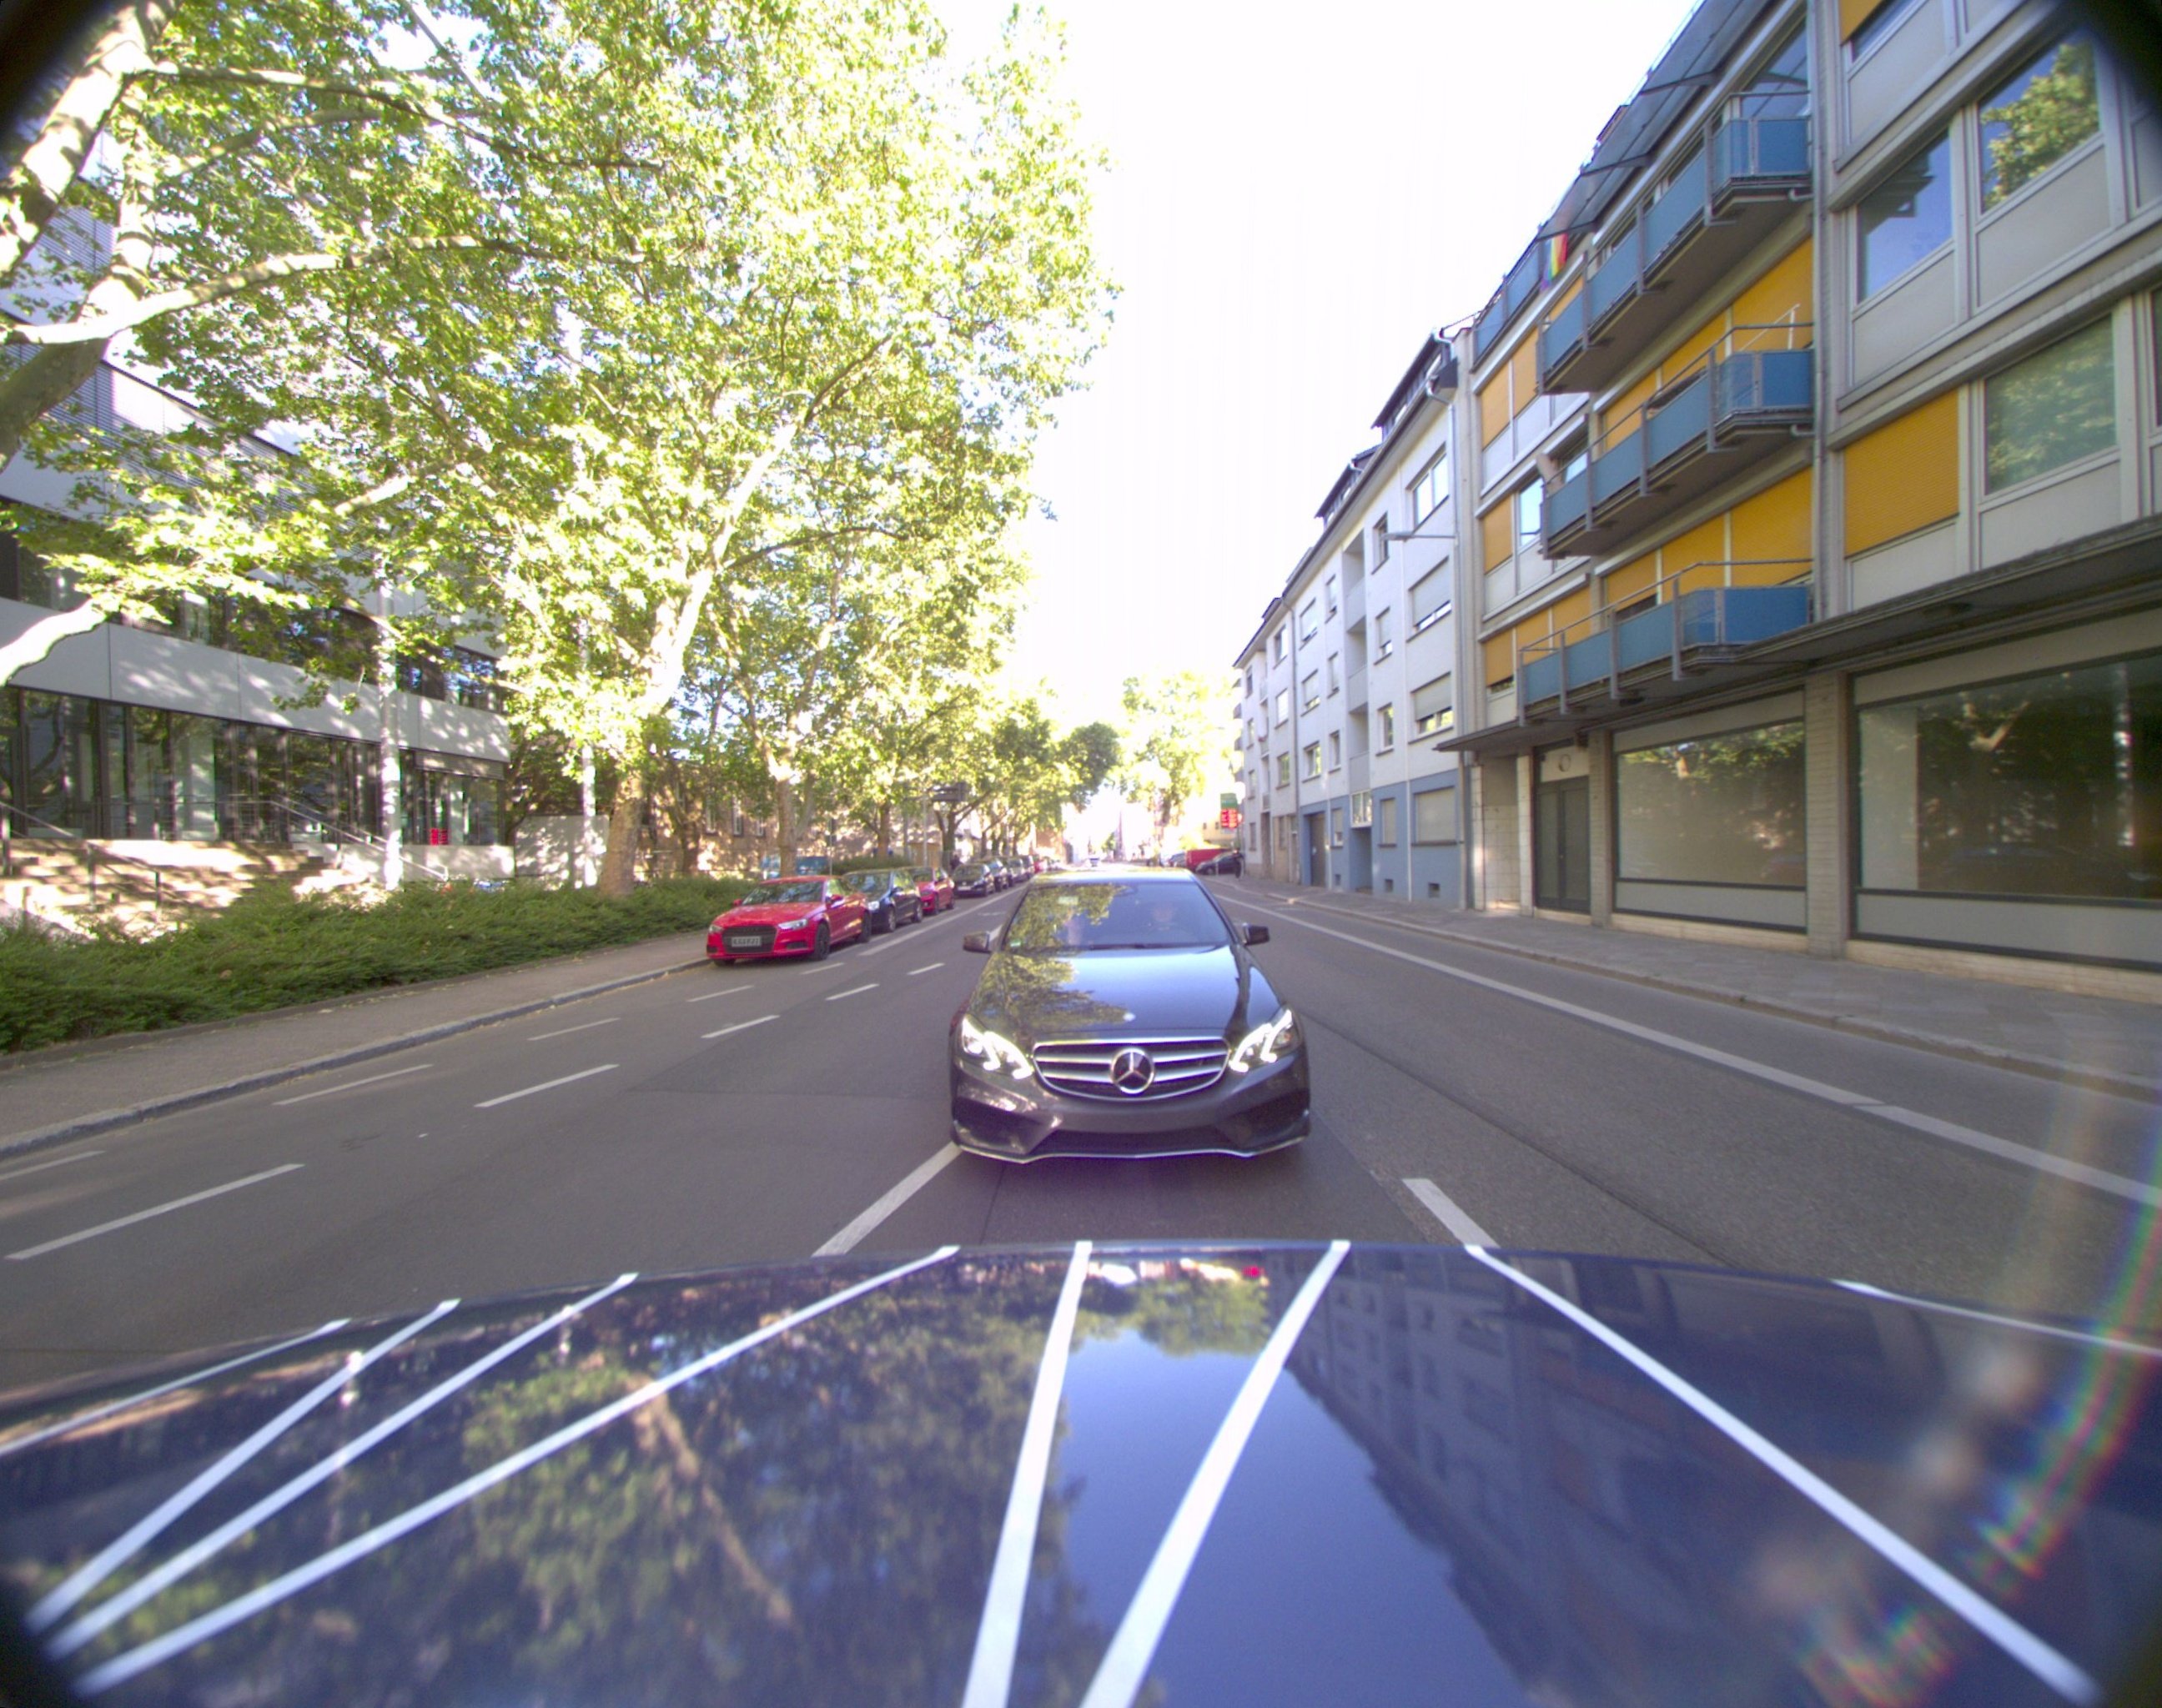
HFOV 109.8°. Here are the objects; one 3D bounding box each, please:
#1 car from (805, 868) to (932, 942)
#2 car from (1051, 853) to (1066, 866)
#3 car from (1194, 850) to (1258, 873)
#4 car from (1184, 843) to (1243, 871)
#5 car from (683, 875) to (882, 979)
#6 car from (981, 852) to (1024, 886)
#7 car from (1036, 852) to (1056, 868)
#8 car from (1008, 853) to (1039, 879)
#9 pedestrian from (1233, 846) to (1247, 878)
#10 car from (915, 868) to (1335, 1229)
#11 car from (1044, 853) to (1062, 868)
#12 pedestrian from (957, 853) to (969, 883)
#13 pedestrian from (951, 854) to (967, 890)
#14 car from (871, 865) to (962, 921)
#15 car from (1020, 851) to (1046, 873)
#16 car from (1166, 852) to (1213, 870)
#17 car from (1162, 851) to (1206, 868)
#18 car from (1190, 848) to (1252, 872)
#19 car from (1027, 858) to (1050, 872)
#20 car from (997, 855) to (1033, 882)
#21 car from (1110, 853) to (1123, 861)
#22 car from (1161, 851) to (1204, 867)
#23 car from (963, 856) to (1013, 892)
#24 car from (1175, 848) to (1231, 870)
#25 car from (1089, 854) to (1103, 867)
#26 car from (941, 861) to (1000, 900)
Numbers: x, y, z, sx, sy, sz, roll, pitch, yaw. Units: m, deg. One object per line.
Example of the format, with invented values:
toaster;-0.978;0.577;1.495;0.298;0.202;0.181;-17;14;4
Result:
car;-5.036;1.151;18.622;1.835;1.438;4.168;-2;0;1
car;-3.039;0.687;102.940;1.835;1.667;4.259;-2;0;1
car;10.406;0.517;54.738;4.255;1.392;1.653;-4;0;1
car;10.421;0.221;60.120;4.255;1.907;1.818;-4;0;0
car;-5.125;1.178;13.761;1.835;1.396;4.247;-2;0;1
car;-4.504;0.823;44.106;1.835;1.787;4.463;-2;0;1
car;-3.932;0.669;86.218;1.835;1.667;4.259;-2;0;1
car;-4.173;0.813;55.631;1.835;1.750;4.259;-2;0;1
pedestrian;8.387;0.409;40.091;0.612;1.685;0.655;-2;1;1
car;0.229;0.917;5.562;1.849;1.490;4.302;-1;0;1
car;-3.404;0.788;92.834;1.835;1.667;4.259;-2;0;1
pedestrian;-7.223;0.859;46.544;0.601;1.785;0.593;-2;1;0
pedestrian;-6.410;0.949;39.884;0.660;1.849;0.641;-2;1;1
car;-5.038;1.135;23.832;1.835;1.459;4.168;-2;0;1
car;-4.139;0.683;66.338;1.835;1.839;4.259;-2;0;1
car;10.439;0.672;73.183;4.255;1.461;1.653;-4;0;1
car;10.610;0.540;78.641;4.255;1.461;1.653;-4;0;1
car;10.490;0.454;57.040;4.255;1.461;1.653;-4;0;1
car;-3.984;1.028;71.779;1.835;1.220;4.259;-2;0;1
car;-4.332;0.948;50.599;1.835;1.604;4.259;-2;0;1
car;8.282;0.631;176.105;1.996;1.729;4.005;-1;0;18
car;10.781;0.514;80.606;4.255;1.461;1.653;-4;0;1
car;-4.591;0.965;38.066;1.835;1.596;4.161;-2;0;1
car;10.058;0.407;62.702;4.255;1.461;1.653;-4;0;1
car;1.985;0.832;99.914;1.726;1.530;4.000;-1;0;1
car;-4.740;1.105;33.168;1.835;1.459;4.168;-2;0;1
